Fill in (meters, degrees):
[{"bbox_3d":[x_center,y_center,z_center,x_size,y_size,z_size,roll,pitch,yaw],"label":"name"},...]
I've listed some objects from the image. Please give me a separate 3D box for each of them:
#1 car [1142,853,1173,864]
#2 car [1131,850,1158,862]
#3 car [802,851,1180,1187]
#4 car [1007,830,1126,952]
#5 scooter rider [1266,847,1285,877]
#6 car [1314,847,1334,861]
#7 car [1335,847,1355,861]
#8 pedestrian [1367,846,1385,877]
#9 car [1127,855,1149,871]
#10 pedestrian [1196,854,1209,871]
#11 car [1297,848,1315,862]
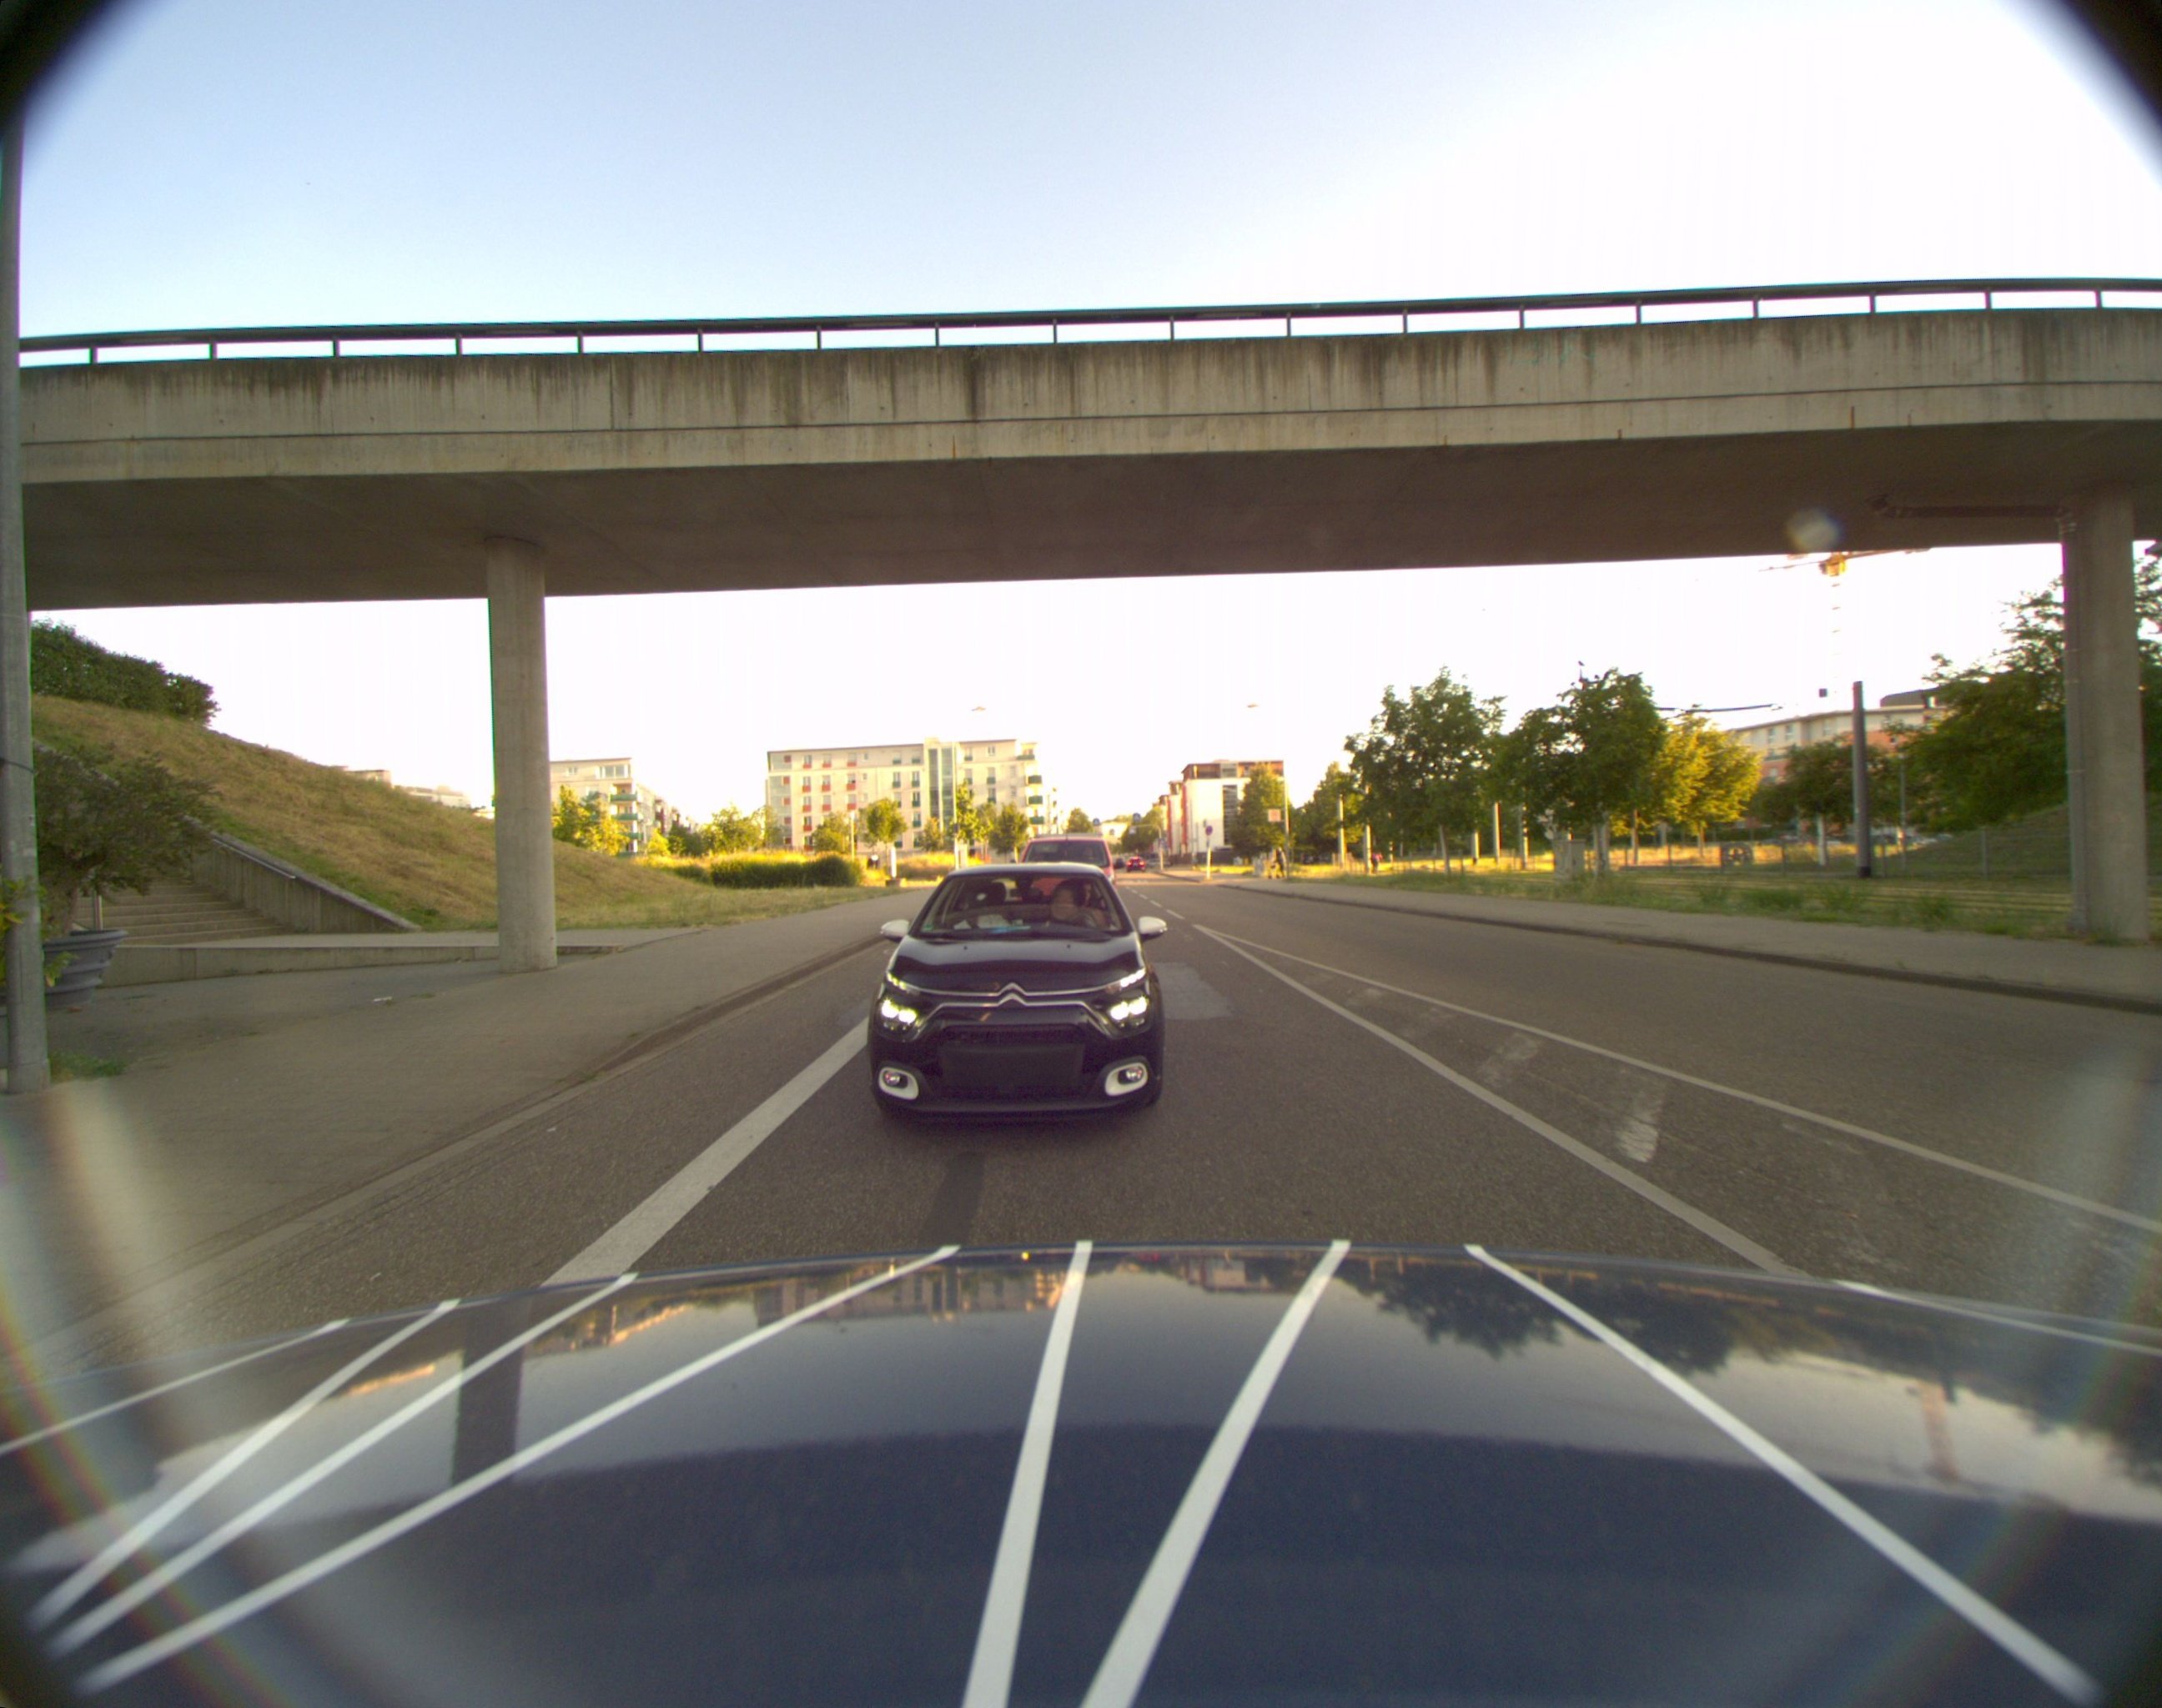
[{"bbox_3d":[11.462,0.655,113.988,4.387,1.550,1.839,-2,1,2],"label":"car"},{"bbox_3d":[12.010,0.350,144.164,4.745,2.002,1.999,-2,1,-2],"label":"car"},{"bbox_3d":[-0.479,0.798,5.690,1.760,1.543,4.071,-2,0,-2],"label":"car"},{"bbox_3d":[-0.262,0.635,15.317,1.931,1.979,4.822,-3,0,0],"label":"car"},{"bbox_3d":[10.276,0.414,40.121,0.897,1.568,0.712,-2,0,11],"label":"scooter rider"},{"bbox_3d":[30.992,0.042,96.845,1.869,1.710,3.848,-2,0,9],"label":"car"},{"bbox_3d":[33.503,-0.052,96.571,1.869,1.710,3.848,-2,0,12],"label":"car"},{"bbox_3d":[15.535,0.382,39.975,0.779,1.602,0.417,-2,0,12],"label":"pedestrian"},{"bbox_3d":[5.866,0.895,78.428,1.998,1.554,4.000,-2,0,1],"label":"car"},{"bbox_3d":[14.029,0.980,87.553,1.088,2.002,1.141,-2,1,29],"label":"pedestrian"},{"bbox_3d":[28.710,0.132,97.193,1.869,1.710,3.848,-2,0,12],"label":"car"}]
